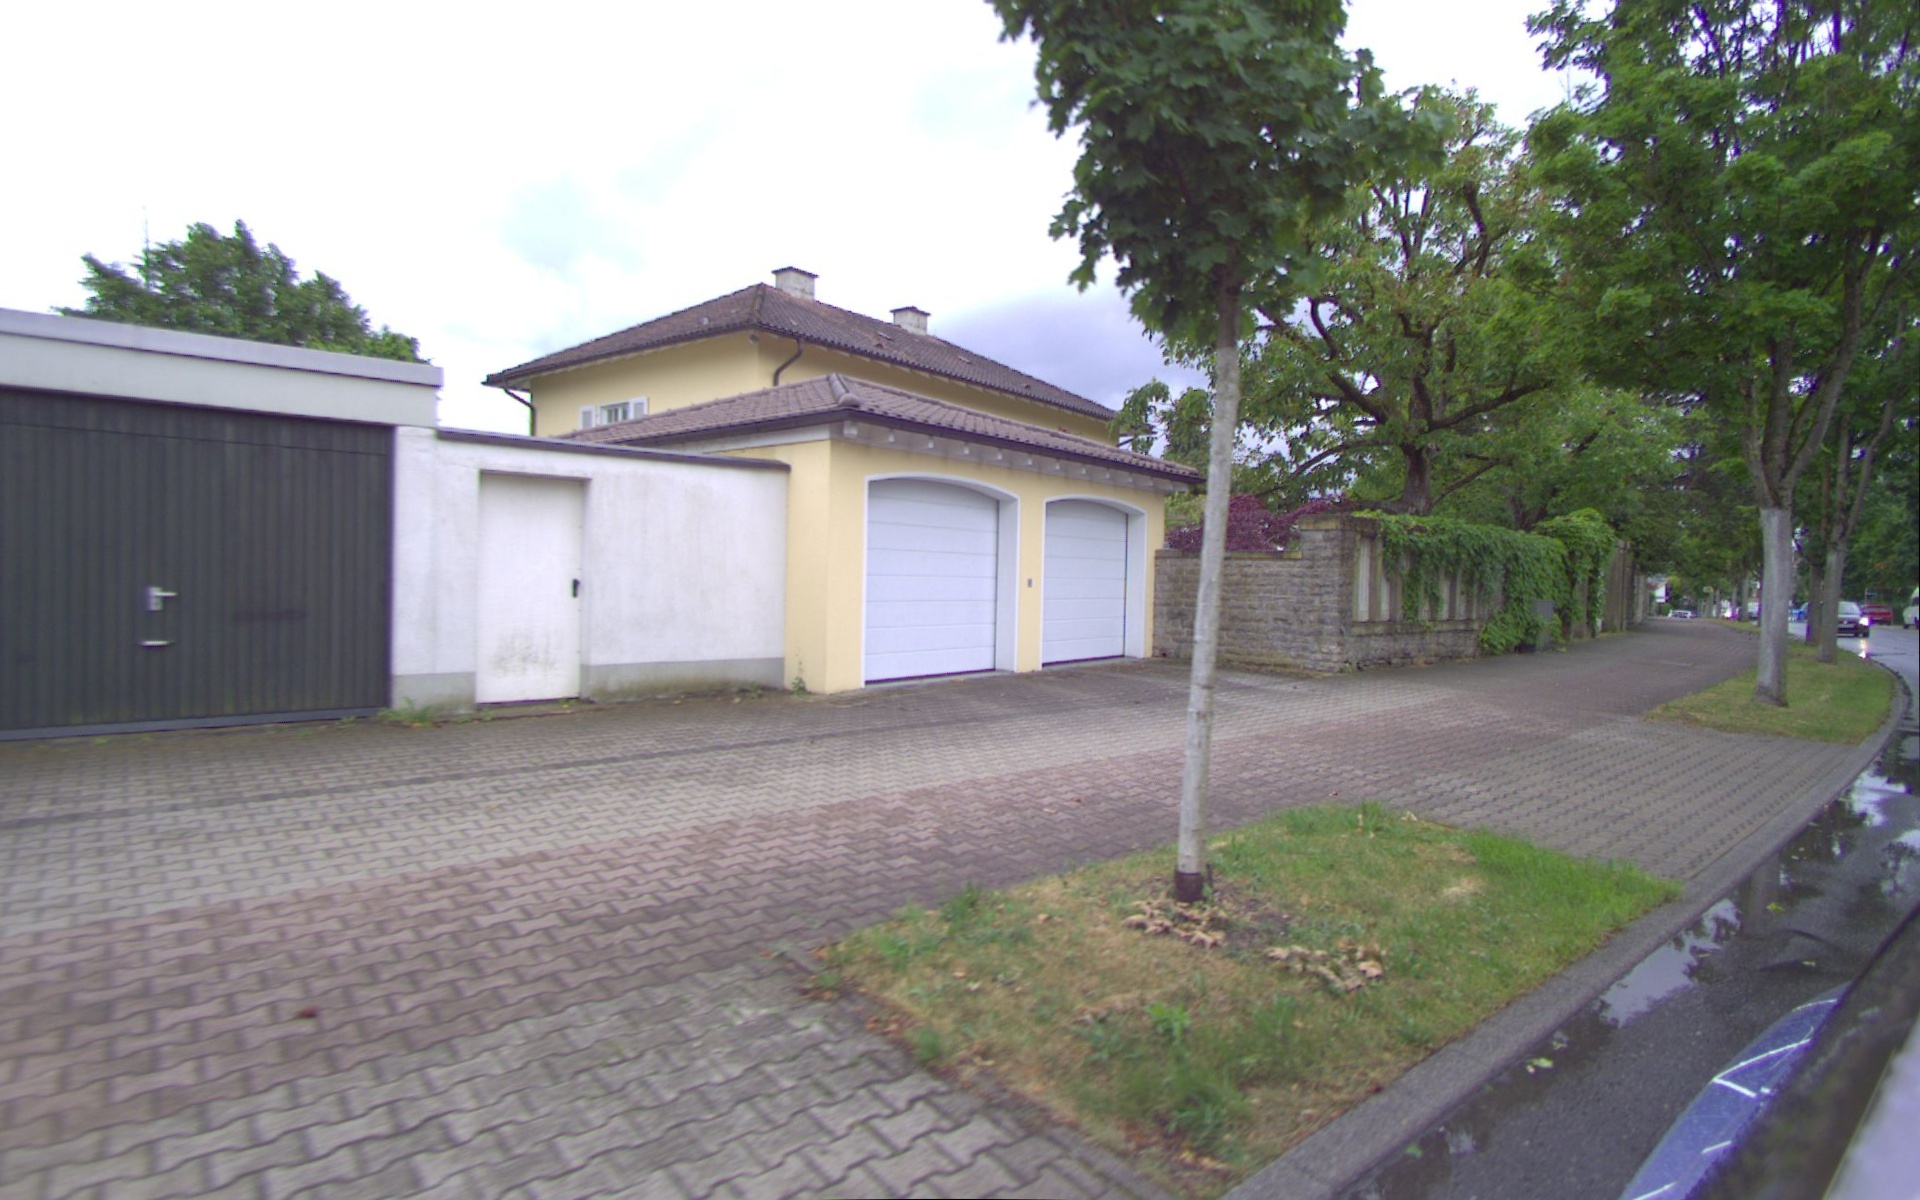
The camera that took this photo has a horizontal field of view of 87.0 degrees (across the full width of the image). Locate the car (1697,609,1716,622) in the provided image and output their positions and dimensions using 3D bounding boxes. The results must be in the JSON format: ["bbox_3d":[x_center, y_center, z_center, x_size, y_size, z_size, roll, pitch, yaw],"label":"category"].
[{"bbox_3d":[88.718,1.868,120.225,1.639,1.394,3.774,4,1,39],"label":"car"}]

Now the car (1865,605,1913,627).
[{"bbox_3d":[65.878,1.096,71.808,1.837,1.484,4.197,1,0,34],"label":"car"}]

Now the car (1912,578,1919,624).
[{"bbox_3d":[55.157,0.078,56.537,1.987,2.593,5.168,2,1,34],"label":"car"}]

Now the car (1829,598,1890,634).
[{"bbox_3d":[38.777,0.699,43.691,1.648,1.470,3.945,0,-1,37],"label":"car"}]

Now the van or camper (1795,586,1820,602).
[{"bbox_3d":[146.996,-0.956,175.535,5.676,2.640,2.149,0,2,-39],"label":"van or camper"}]
